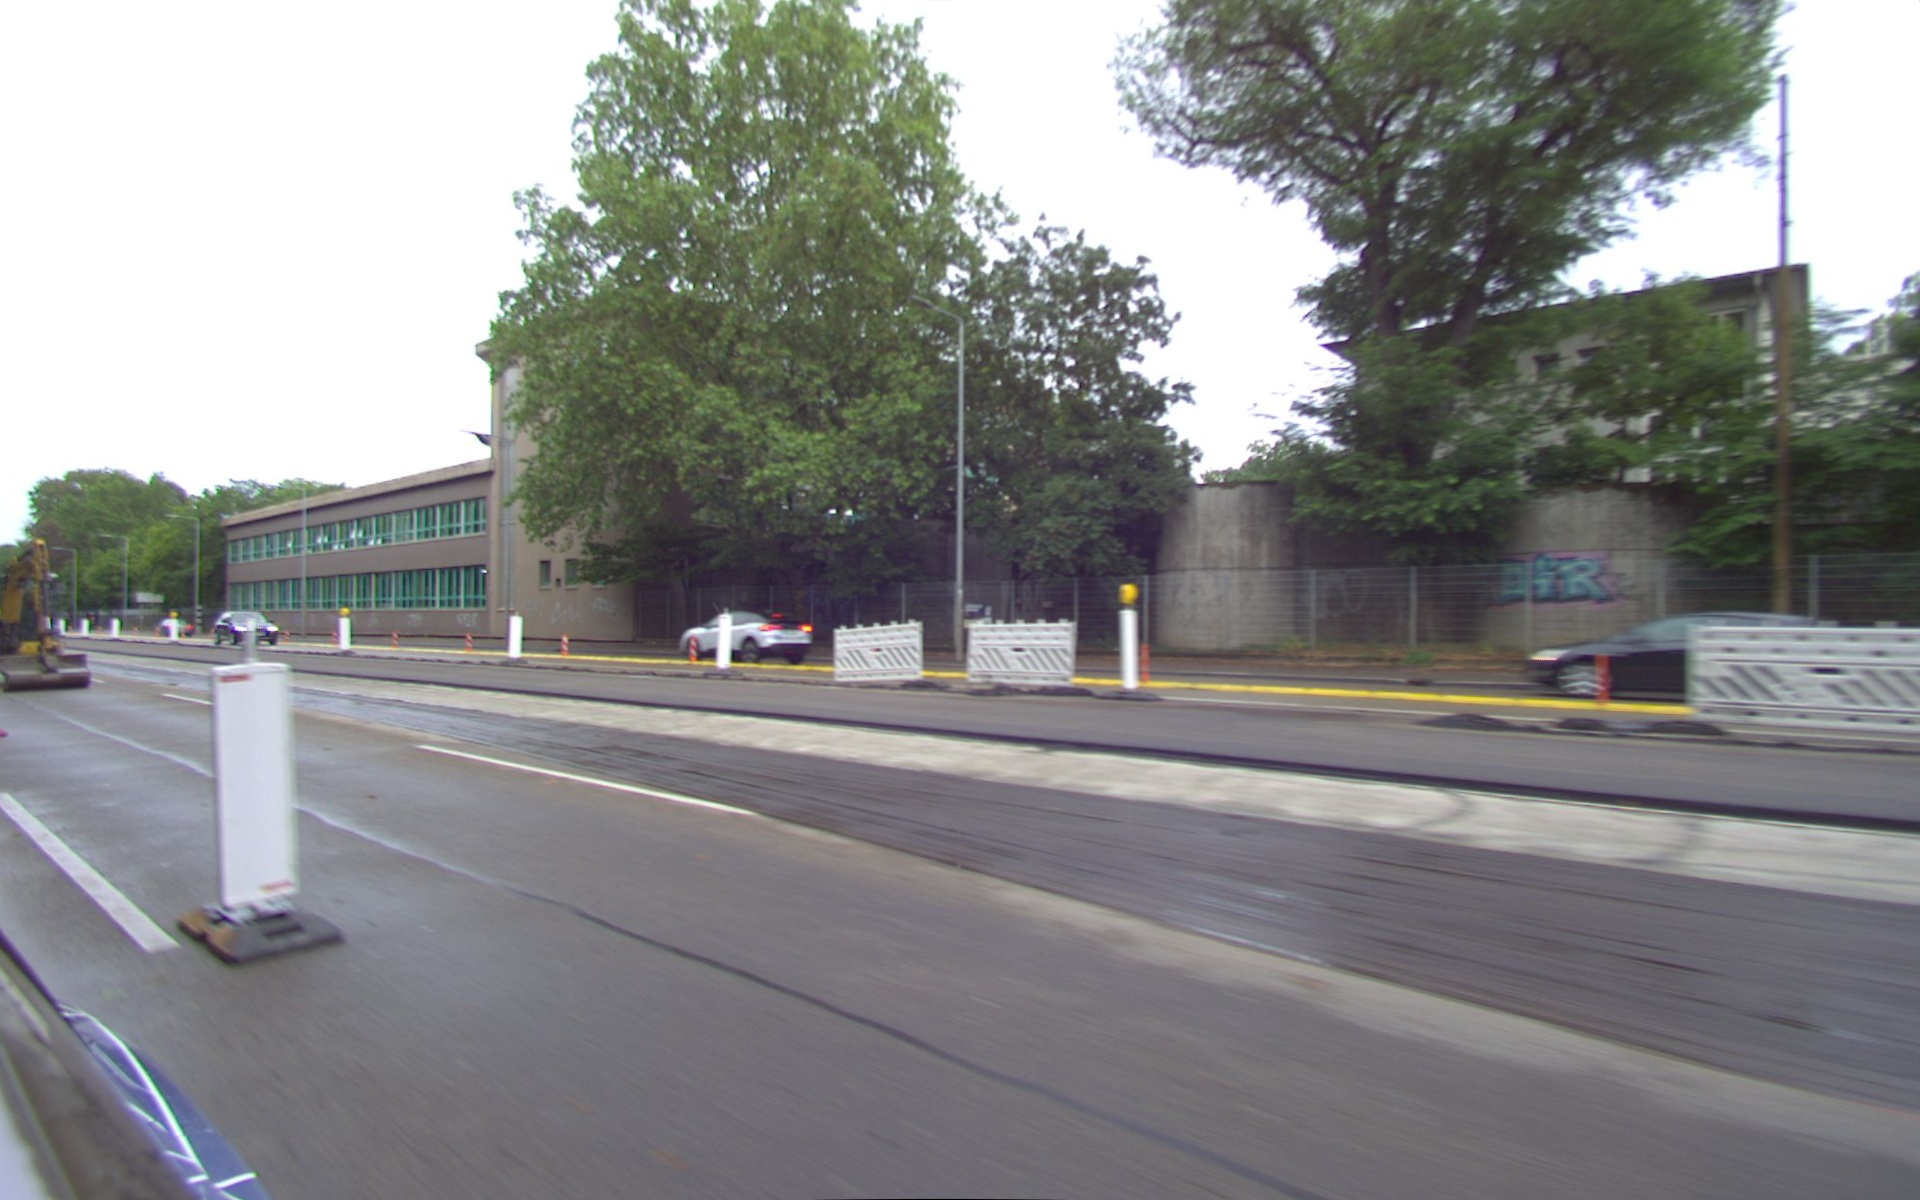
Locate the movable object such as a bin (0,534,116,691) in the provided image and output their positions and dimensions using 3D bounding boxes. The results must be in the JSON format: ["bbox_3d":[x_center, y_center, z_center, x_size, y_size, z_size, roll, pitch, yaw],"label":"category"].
[{"bbox_3d":[-20.734,0.289,22.460,5.617,3.125,1.974,-1,-1,38],"label":"movable object such as a bin"}]

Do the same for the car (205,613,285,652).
[{"bbox_3d":[-35.552,1.656,50.304,4.980,1.719,1.973,-3,-6,40],"label":"car"}]

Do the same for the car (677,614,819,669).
[{"bbox_3d":[-6.053,1.129,28.658,4.146,1.445,1.817,-1,-1,41],"label":"car"}]

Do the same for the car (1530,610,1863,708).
[{"bbox_3d":[11.729,0.888,16.327,4.167,1.393,1.688,-1,-2,41],"label":"car"}]
